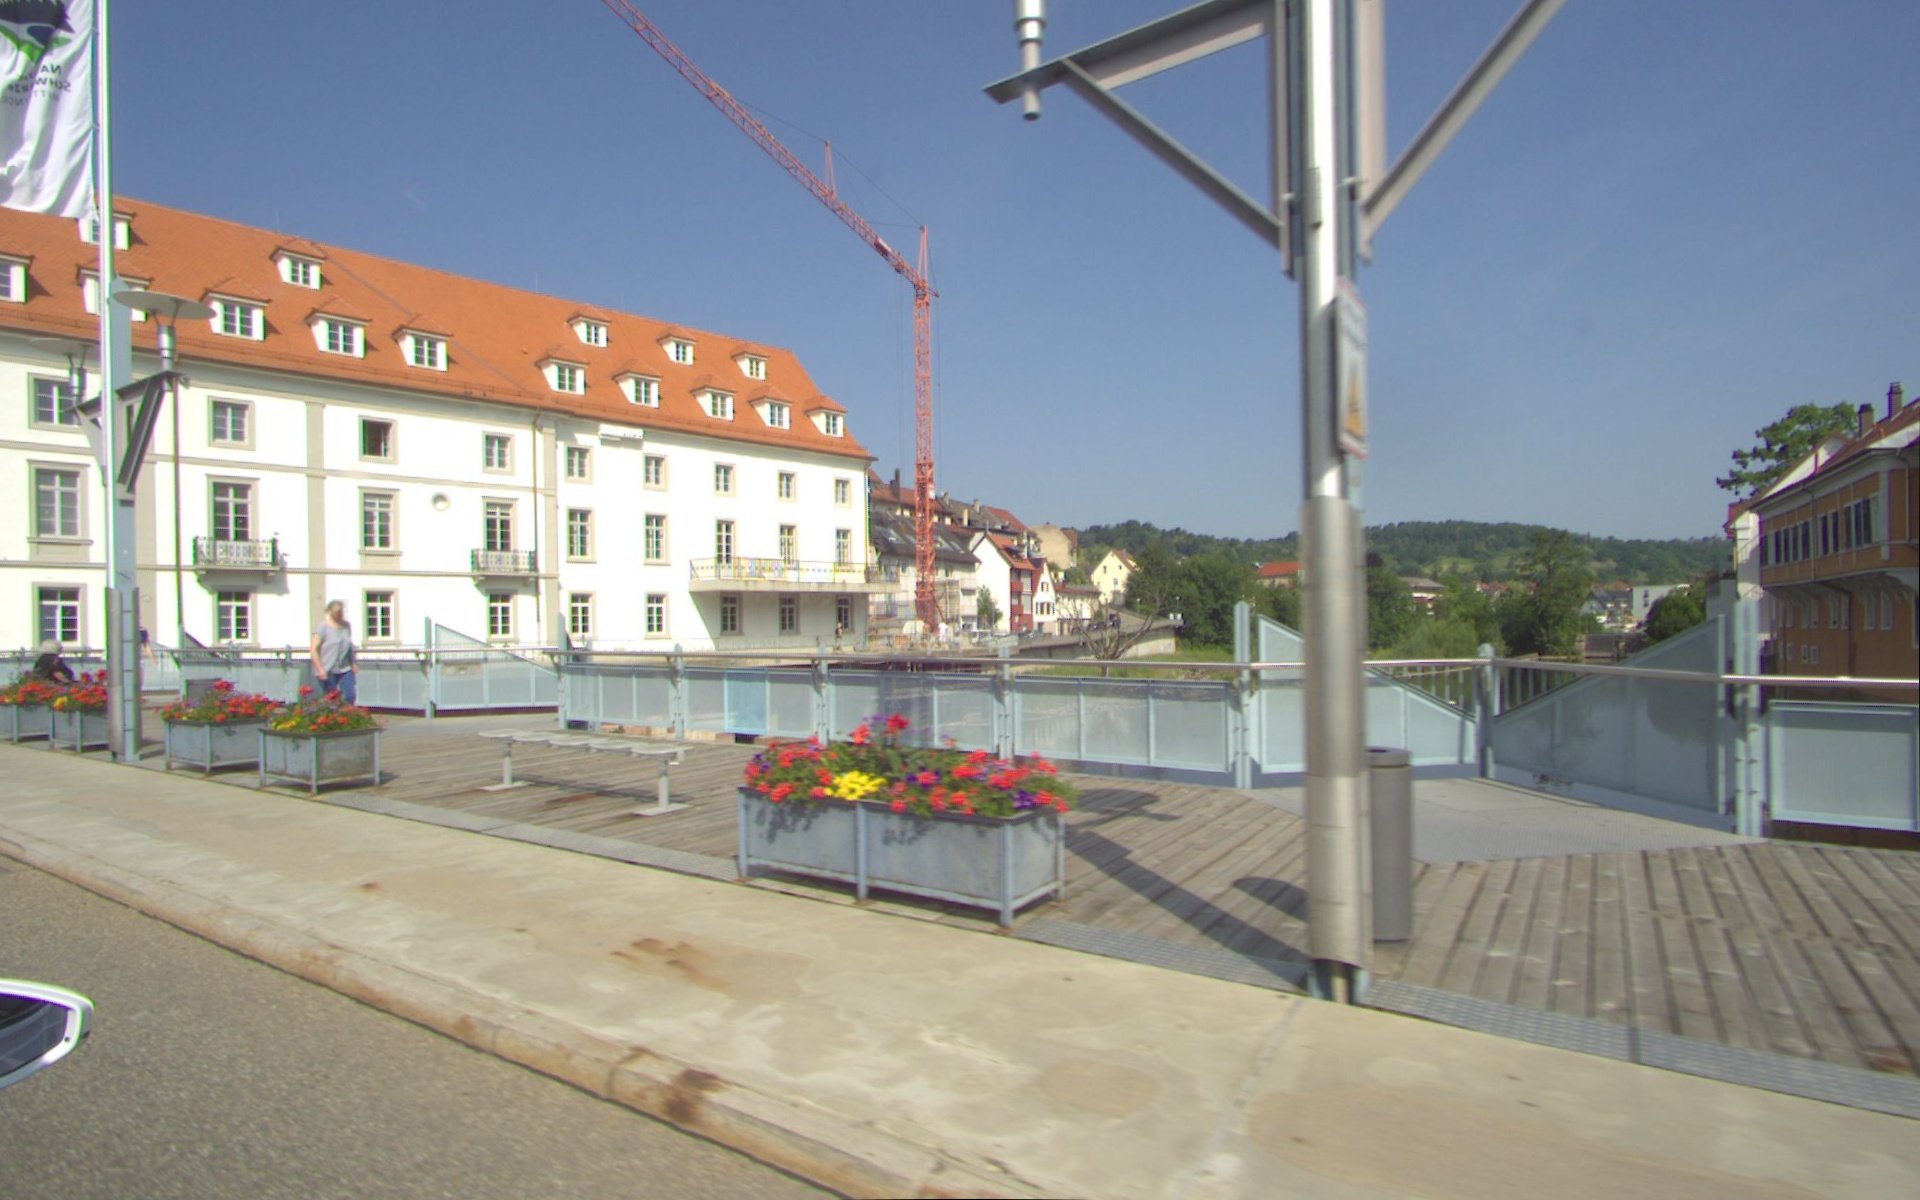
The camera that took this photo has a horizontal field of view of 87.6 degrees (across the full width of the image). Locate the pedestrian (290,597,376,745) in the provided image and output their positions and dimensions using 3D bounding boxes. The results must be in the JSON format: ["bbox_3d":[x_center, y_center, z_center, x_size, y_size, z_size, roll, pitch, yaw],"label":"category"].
[{"bbox_3d":[-7.212,0.798,11.526,0.555,1.639,0.664,0,-1,34],"label":"pedestrian"}]

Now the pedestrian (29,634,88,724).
[{"bbox_3d":[-13.071,1.132,14.520,0.617,1.260,0.451,-1,0,28],"label":"pedestrian"}]

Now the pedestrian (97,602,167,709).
[{"bbox_3d":[-13.985,0.920,16.925,0.737,1.745,0.724,0,-1,33],"label":"pedestrian"}]
